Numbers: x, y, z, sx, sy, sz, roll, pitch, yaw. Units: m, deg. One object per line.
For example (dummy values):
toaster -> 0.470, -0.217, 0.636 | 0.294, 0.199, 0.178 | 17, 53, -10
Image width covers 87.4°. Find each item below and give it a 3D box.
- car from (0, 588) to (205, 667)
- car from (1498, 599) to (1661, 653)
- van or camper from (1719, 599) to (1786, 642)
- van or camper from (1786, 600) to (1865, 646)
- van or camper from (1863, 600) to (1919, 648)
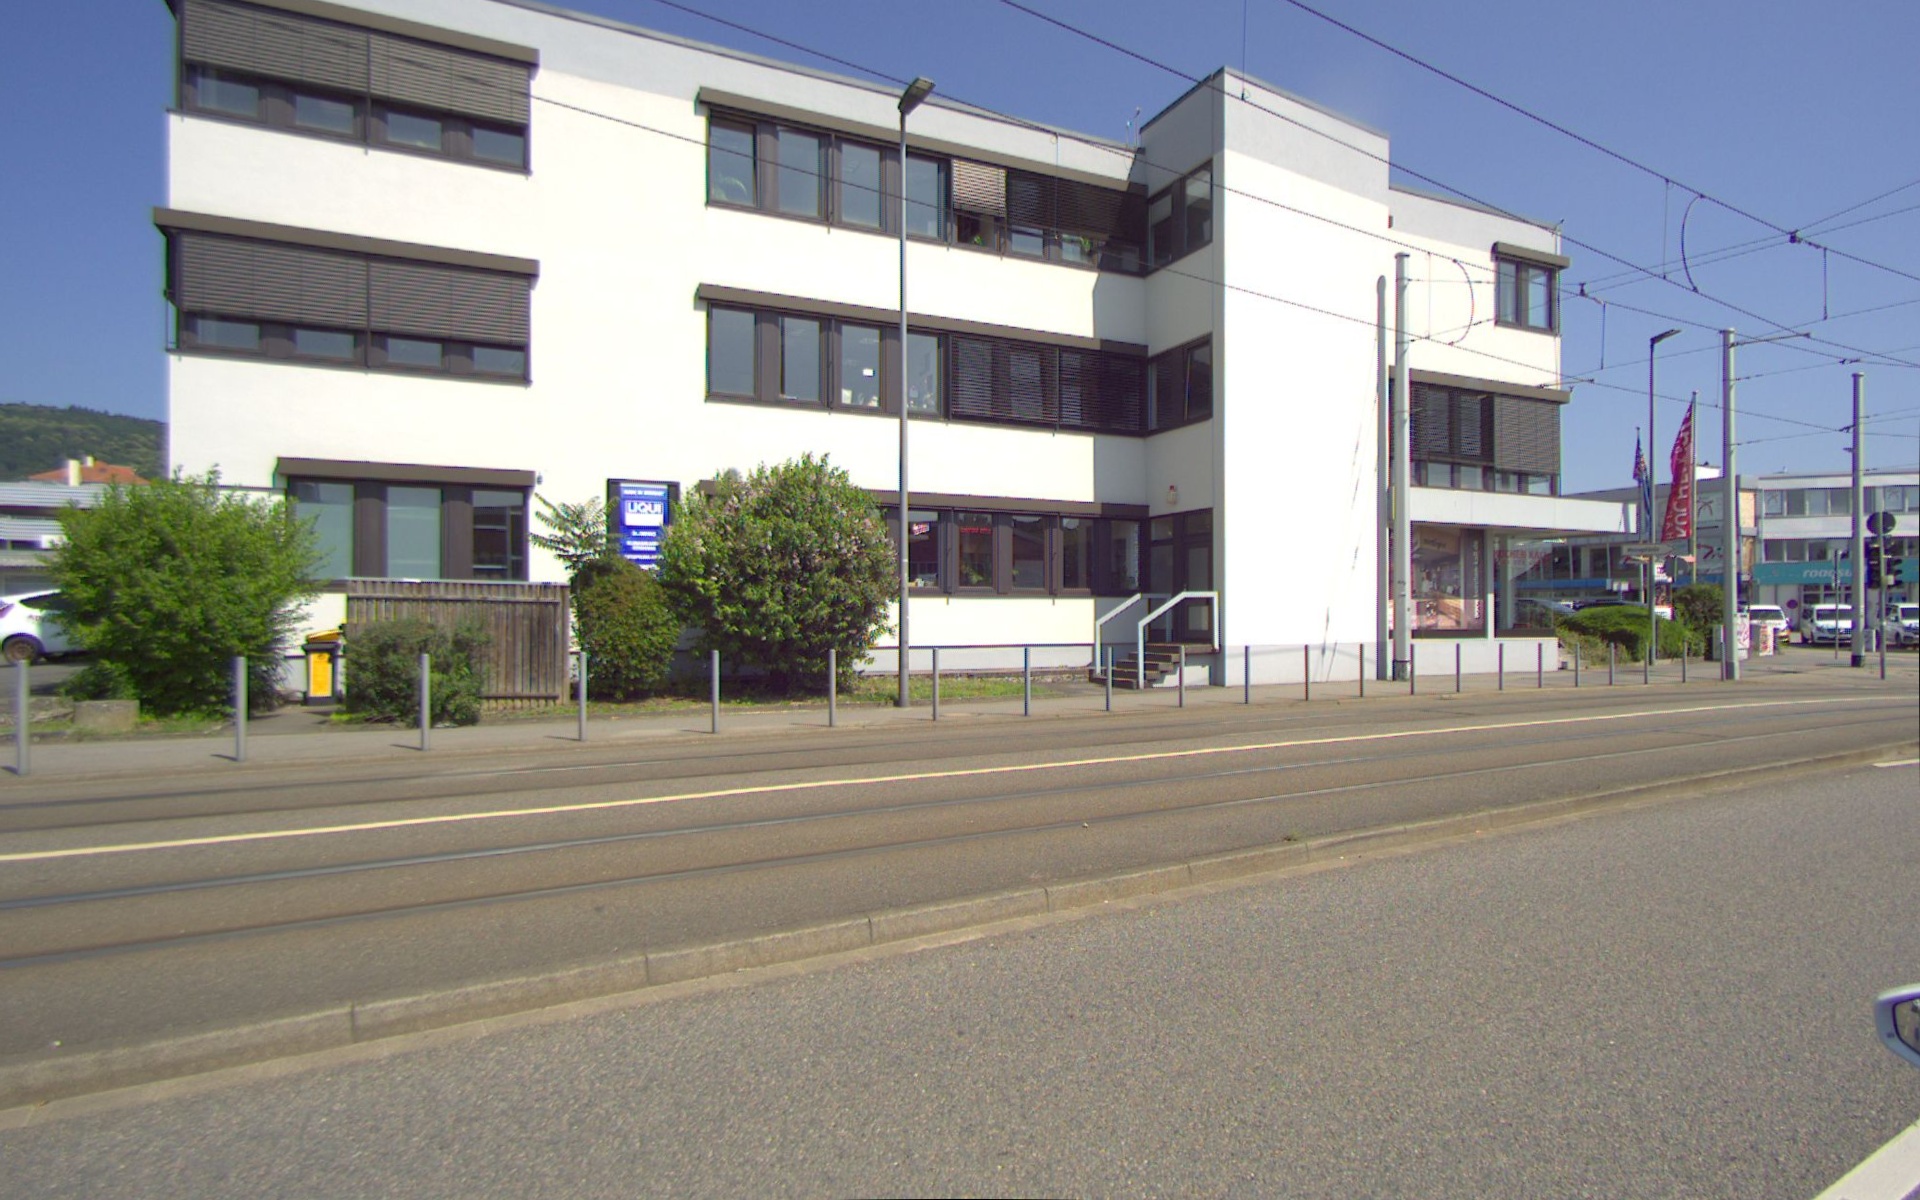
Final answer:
car -> -17.418, 0.517, 20.355 | 3.089, 1.446, 1.413 | -2, 1, -25
car -> 19.458, 0.771, 31.717 | 1.975, 1.539, 3.971 | -2, 1, -28
van or camper -> 40.953, 1.022, 52.017 | 1.964, 2.041, 4.753 | -1, 1, 29
van or camper -> 42.458, 1.093, 49.365 | 1.964, 2.041, 4.753 | -1, 1, 29
van or camper -> 44.452, 1.068, 47.157 | 1.964, 2.041, 5.001 | -1, 1, 29
